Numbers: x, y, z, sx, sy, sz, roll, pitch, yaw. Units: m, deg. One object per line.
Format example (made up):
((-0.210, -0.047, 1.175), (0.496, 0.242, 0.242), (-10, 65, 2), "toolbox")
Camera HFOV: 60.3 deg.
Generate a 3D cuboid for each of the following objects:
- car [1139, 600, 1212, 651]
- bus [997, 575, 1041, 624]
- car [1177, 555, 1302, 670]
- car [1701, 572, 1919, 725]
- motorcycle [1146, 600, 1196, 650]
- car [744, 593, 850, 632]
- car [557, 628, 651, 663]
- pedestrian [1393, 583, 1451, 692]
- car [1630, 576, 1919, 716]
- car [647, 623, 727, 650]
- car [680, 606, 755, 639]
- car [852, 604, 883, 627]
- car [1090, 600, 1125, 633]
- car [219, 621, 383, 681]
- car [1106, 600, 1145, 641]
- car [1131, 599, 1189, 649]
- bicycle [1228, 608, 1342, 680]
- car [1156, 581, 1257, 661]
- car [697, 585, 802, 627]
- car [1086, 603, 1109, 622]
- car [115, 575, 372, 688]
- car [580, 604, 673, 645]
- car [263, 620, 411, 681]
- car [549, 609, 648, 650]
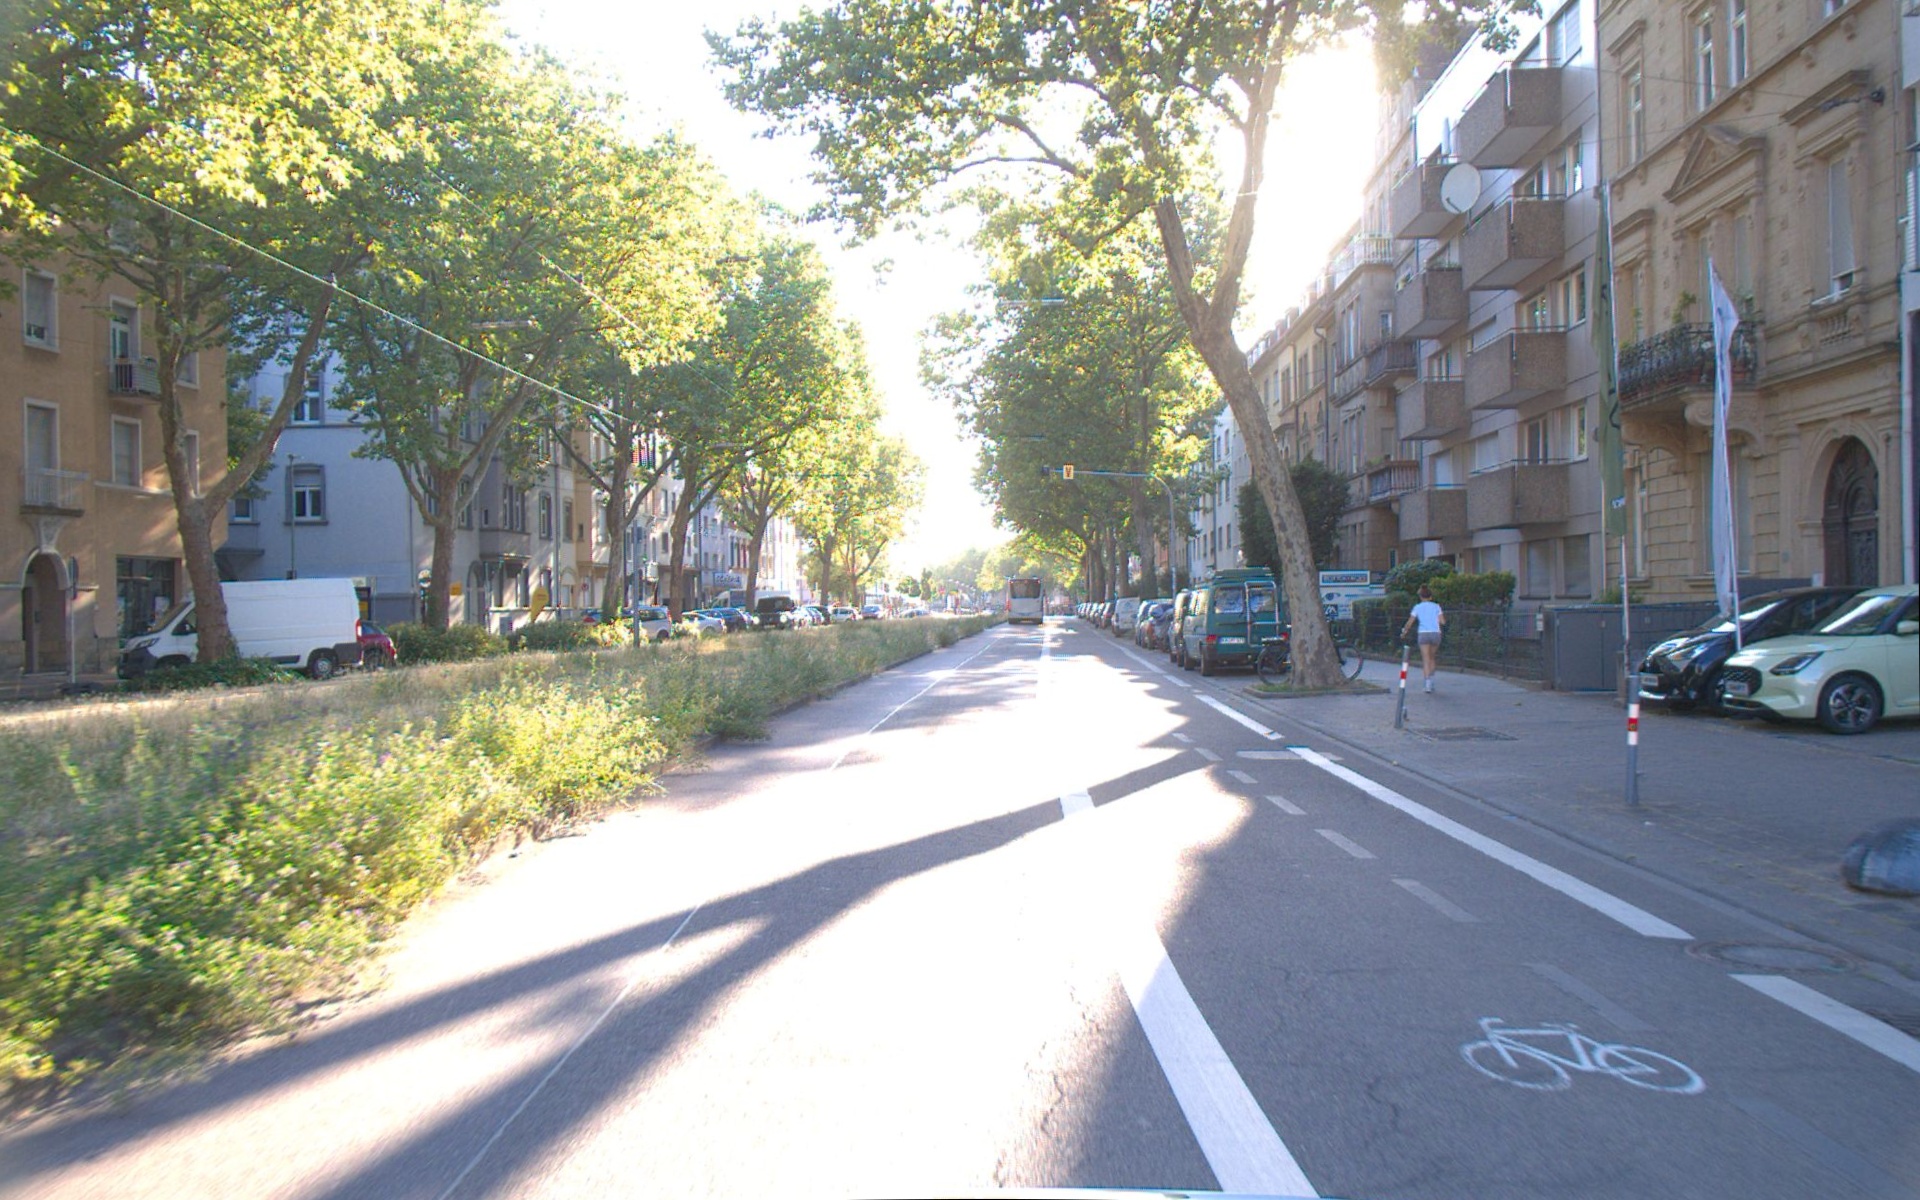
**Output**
((7.012, 0.841, 54.259), (1.952, 1.587, 3.981), (-1, -1, 2), "car")
((4.145, 0.036, 117.641), (2.775, 3.292, 8.182), (-1, -1, 0), "bus")
((6.048, 0.298, 36.389), (1.952, 2.297, 5.236), (-1, -1, 2), "car")
((10.047, 0.498, 17.825), (3.346, 1.545, 1.758), (-1, -1, 4), "car")
((6.384, 0.744, 50.147), (0.809, 1.422, 2.374), (-3, 0, -10), "motorcycle")
((-7.491, 0.563, 76.193), (4.737, 1.723, 1.846), (0, -1, -43), "car")
((-16.327, 2.081, 75.965), (3.956, 1.474, 1.565), (0, -1, -37), "car")
((7.194, 0.579, 25.773), (0.649, 1.657, 0.923), (-1, -1, 2), "pedestrian")
((10.050, 0.538, 19.931), (3.348, 1.573, 1.442), (-1, -1, 0), "car")
((-14.634, 1.956, 88.690), (3.943, 1.380, 1.570), (-1, -1, -29), "car")
((-14.243, 1.326, 97.352), (3.944, 1.728, 1.838), (-3, 0, -29), "car")
((-6.639, 1.075, 119.320), (1.752, 1.601, 4.002), (-1, 0, 3), "car")
((8.558, 0.971, 96.099), (1.708, 1.801, 4.989), (-1, -1, 2), "car")
((-17.338, 1.310, 43.570), (3.675, 1.424, 1.711), (-1, 0, -40), "car")
((7.735, 0.957, 76.866), (1.707, 1.801, 4.397), (-1, -1, 7), "car")
((7.185, 0.866, 59.678), (1.708, 1.720, 3.852), (-1, -1, 2), "car")
((5.406, 0.729, 27.575), (1.806, 1.163, 0.348), (-1, -1, 2), "bicycle")
((6.148, 0.527, 41.748), (1.952, 1.862, 4.758), (-1, -1, 2), "car")
((-14.391, 0.393, 113.159), (6.830, 2.725, 2.174), (-1, -1, -18), "car")
((11.322, 1.027, 136.664), (1.744, 1.542, 4.001), (-2, 0, 3), "car")
((-17.569, 0.709, 40.716), (5.456, 2.573, 2.096), (-1, 0, -40), "car")
((-16.087, 1.190, 79.794), (3.958, 1.915, 1.973), (0, -1, -38), "car")
((-17.465, 1.377, 46.408), (3.658, 1.492, 1.719), (-3, 1, -29), "car")
((-16.086, 1.310, 73.624), (3.956, 1.754, 1.761), (0, -1, -36), "car")
